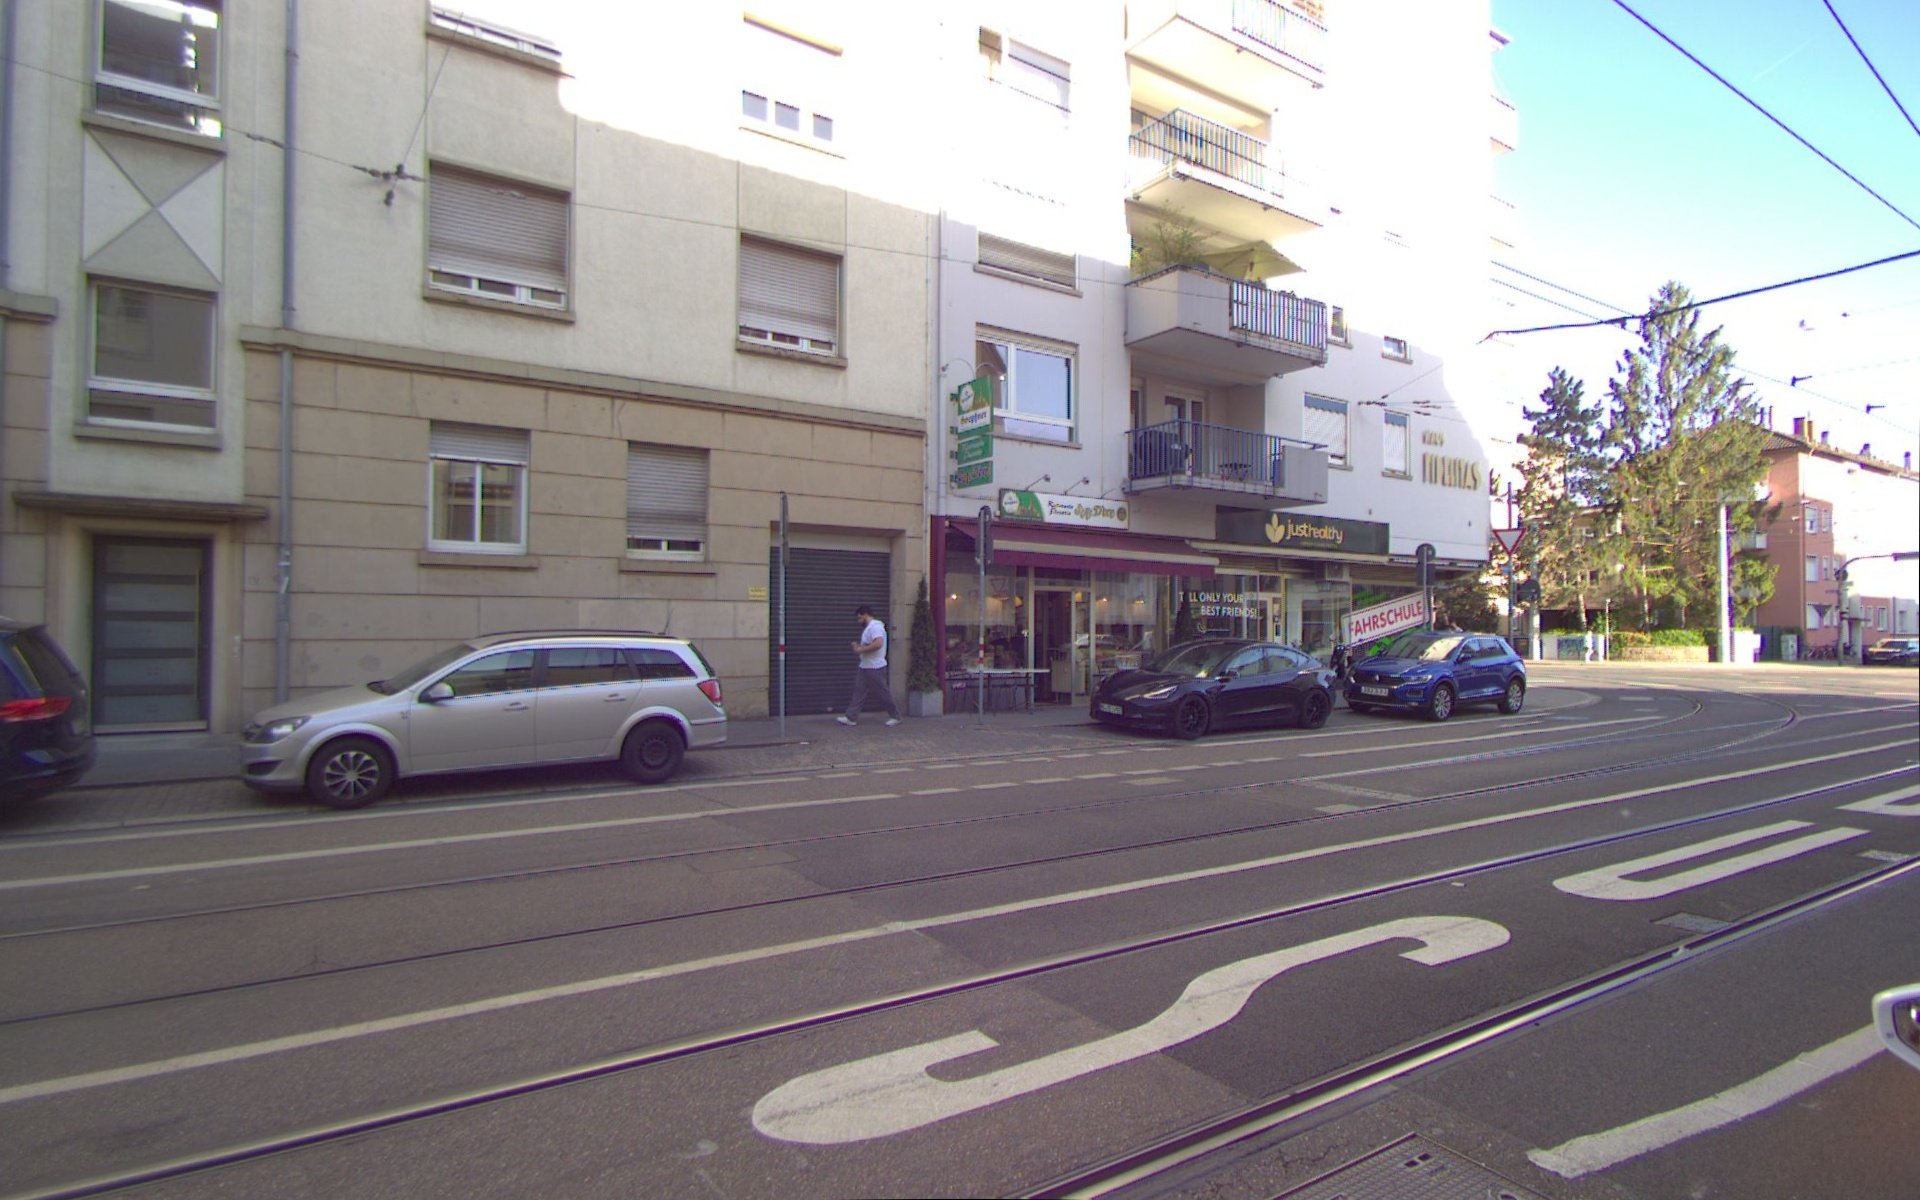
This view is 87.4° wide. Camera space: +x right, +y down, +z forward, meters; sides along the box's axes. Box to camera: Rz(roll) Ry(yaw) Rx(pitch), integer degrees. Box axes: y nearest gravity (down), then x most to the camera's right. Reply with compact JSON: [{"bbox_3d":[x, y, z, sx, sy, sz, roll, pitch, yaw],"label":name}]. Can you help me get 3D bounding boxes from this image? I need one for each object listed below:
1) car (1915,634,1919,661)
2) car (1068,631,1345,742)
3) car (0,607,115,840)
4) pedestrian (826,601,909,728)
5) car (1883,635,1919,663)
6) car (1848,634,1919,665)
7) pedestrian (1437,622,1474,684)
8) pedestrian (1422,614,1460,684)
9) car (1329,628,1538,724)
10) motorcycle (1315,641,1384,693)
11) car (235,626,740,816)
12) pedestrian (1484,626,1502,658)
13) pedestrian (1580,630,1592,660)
[{"bbox_3d":[58.328,2.837,59.409,4.185,1.546,1.731,2,0,-34],"label":"car"},{"bbox_3d":[4.006,1.294,16.056,4.398,1.494,1.759,2,0,-33],"label":"car"},{"bbox_3d":[-8.960,0.871,7.166,4.282,1.655,1.802,2,1,-35],"label":"car"},{"bbox_3d":[-1.365,0.928,14.878,0.998,1.791,0.656,2,0,-40],"label":"pedestrian"},{"bbox_3d":[54.026,2.784,56.651,4.057,1.456,1.893,2,0,-32],"label":"car"},{"bbox_3d":[49.732,2.649,53.888,4.397,1.450,2.140,4,-1,-35],"label":"car"},{"bbox_3d":[14.818,1.563,30.053,0.653,1.816,0.733,1,-1,-27],"label":"pedestrian"},{"bbox_3d":[13.609,1.391,28.431,0.727,1.925,0.573,3,-2,-15],"label":"pedestrian"},{"bbox_3d":[9.033,1.346,19.048,4.196,1.524,1.757,0,1,-36],"label":"car"},{"bbox_3d":[9.257,1.576,23.864,1.778,1.149,0.603,2,0,-34],"label":"motorcycle"},{"bbox_3d":[-4.615,1.066,10.164,4.327,1.474,1.714,2,1,-35],"label":"car"},{"bbox_3d":[30.398,2.388,57.251,0.772,1.744,0.702,2,0,37],"label":"pedestrian"},{"bbox_3d":[33.728,2.440,54.125,0.509,1.589,0.572,2,0,33],"label":"pedestrian"}]
